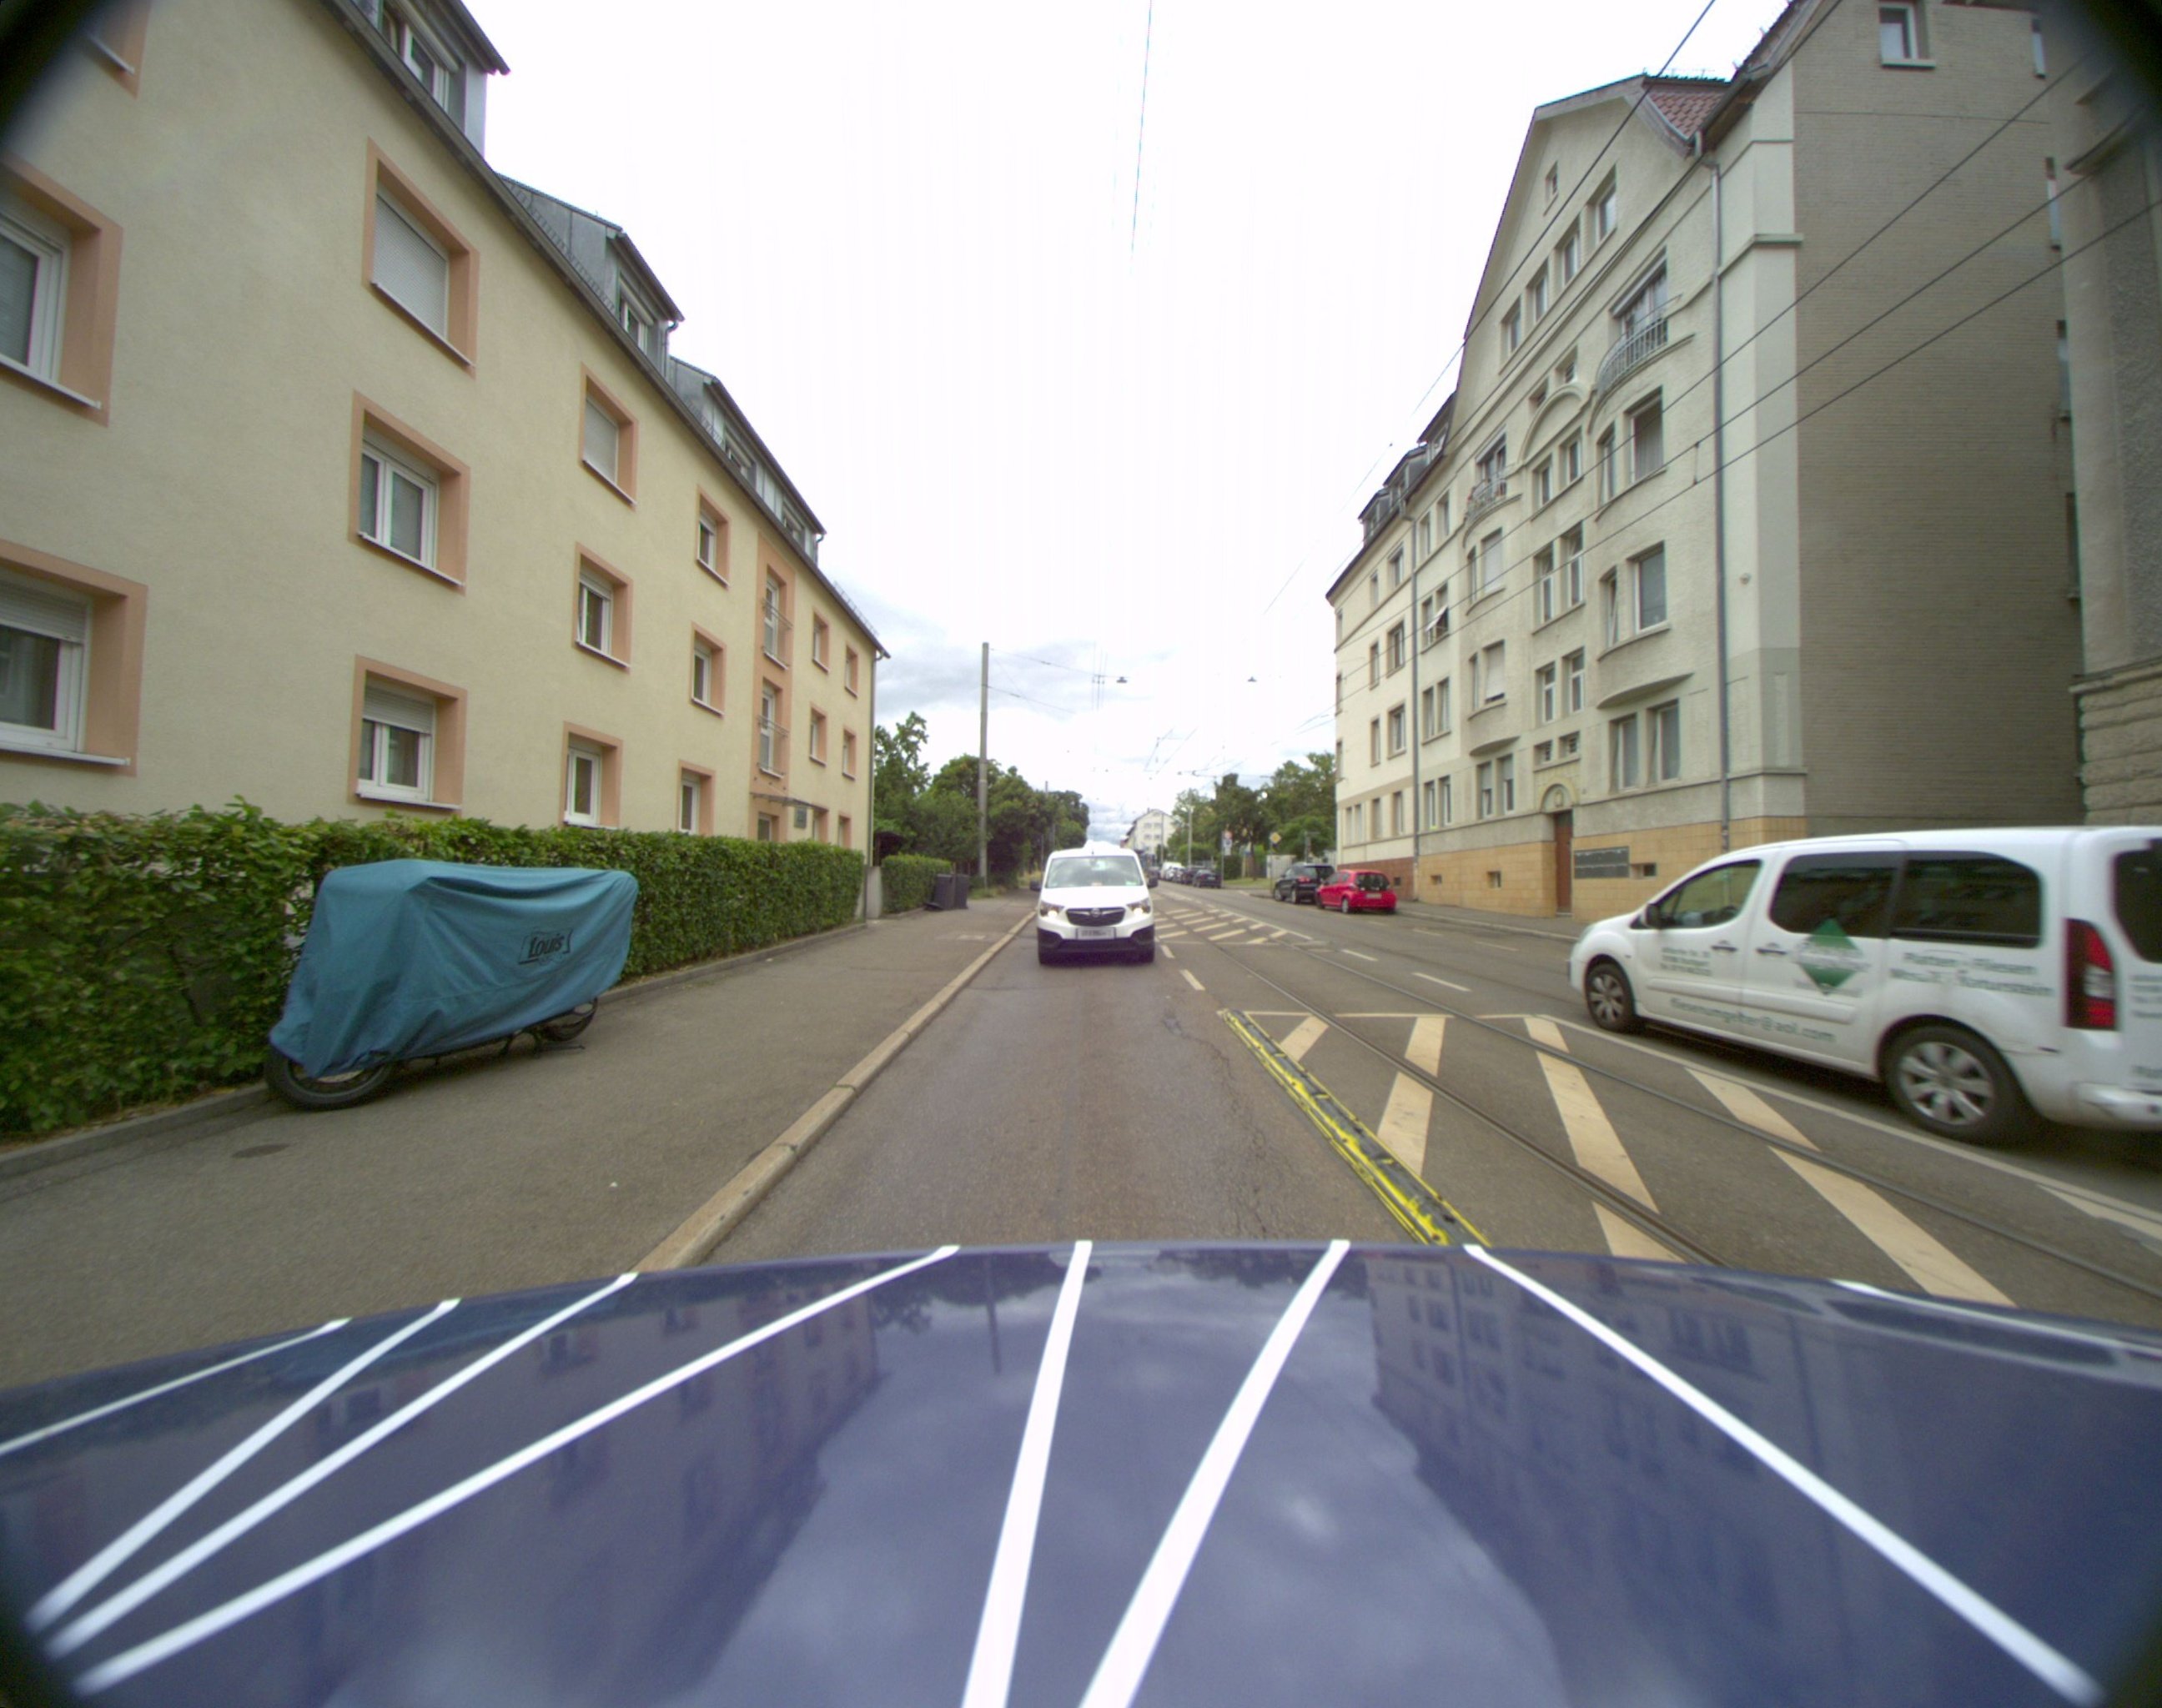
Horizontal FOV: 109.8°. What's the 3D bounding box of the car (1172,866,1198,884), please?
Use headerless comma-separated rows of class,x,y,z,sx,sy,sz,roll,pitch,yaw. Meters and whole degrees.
car,9.452,1.895,69.454,1.743,1.500,3.869,1,0,-1

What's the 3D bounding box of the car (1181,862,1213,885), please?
car,9.608,1.593,63.230,1.974,1.676,4.444,1,0,-1

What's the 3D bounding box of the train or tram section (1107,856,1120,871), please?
train or tram section,7.919,2.282,186.901,2.857,3.615,12.130,0,0,0

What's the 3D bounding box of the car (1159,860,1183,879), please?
car,9.565,1.663,80.894,1.974,1.901,4.734,1,0,-1

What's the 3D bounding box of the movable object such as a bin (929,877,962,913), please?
movable object such as a bin,-3.921,1.192,22.047,0.794,1.006,0.789,0,0,3

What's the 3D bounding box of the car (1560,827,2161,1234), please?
car,5.709,0.803,5.469,1.925,1.808,4.218,0,0,1

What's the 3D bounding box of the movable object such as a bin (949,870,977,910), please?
movable object such as a bin,-3.690,1.127,23.759,0.794,1.211,0.789,0,0,-3

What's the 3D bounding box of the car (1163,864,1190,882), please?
car,9.386,1.831,75.099,1.974,1.676,4.632,1,0,-1

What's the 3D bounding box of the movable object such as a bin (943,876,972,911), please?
movable object such as a bin,-3.717,1.186,22.943,0.794,1.006,0.789,0,0,-3

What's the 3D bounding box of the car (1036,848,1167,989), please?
car,0.329,0.879,12.250,1.730,1.850,4.421,0,-1,2

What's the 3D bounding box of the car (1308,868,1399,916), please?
car,9.299,1.248,26.242,1.625,1.454,3.744,1,0,-2

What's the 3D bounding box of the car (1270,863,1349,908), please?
car,9.309,1.216,31.323,1.872,1.636,4.401,1,0,-1

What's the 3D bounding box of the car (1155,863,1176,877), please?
car,9.581,1.818,86.314,1.844,1.379,4.517,1,0,-1

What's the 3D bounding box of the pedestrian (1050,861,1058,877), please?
pedestrian,-2.640,1.449,74.596,0.716,1.611,0.719,0,0,1

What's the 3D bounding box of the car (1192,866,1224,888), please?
car,9.428,1.665,56.621,1.625,1.469,4.156,1,0,-1

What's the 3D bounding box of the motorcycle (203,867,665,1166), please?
motorcycle,-3.910,0.827,5.045,0.840,1.448,2.553,0,0,2
